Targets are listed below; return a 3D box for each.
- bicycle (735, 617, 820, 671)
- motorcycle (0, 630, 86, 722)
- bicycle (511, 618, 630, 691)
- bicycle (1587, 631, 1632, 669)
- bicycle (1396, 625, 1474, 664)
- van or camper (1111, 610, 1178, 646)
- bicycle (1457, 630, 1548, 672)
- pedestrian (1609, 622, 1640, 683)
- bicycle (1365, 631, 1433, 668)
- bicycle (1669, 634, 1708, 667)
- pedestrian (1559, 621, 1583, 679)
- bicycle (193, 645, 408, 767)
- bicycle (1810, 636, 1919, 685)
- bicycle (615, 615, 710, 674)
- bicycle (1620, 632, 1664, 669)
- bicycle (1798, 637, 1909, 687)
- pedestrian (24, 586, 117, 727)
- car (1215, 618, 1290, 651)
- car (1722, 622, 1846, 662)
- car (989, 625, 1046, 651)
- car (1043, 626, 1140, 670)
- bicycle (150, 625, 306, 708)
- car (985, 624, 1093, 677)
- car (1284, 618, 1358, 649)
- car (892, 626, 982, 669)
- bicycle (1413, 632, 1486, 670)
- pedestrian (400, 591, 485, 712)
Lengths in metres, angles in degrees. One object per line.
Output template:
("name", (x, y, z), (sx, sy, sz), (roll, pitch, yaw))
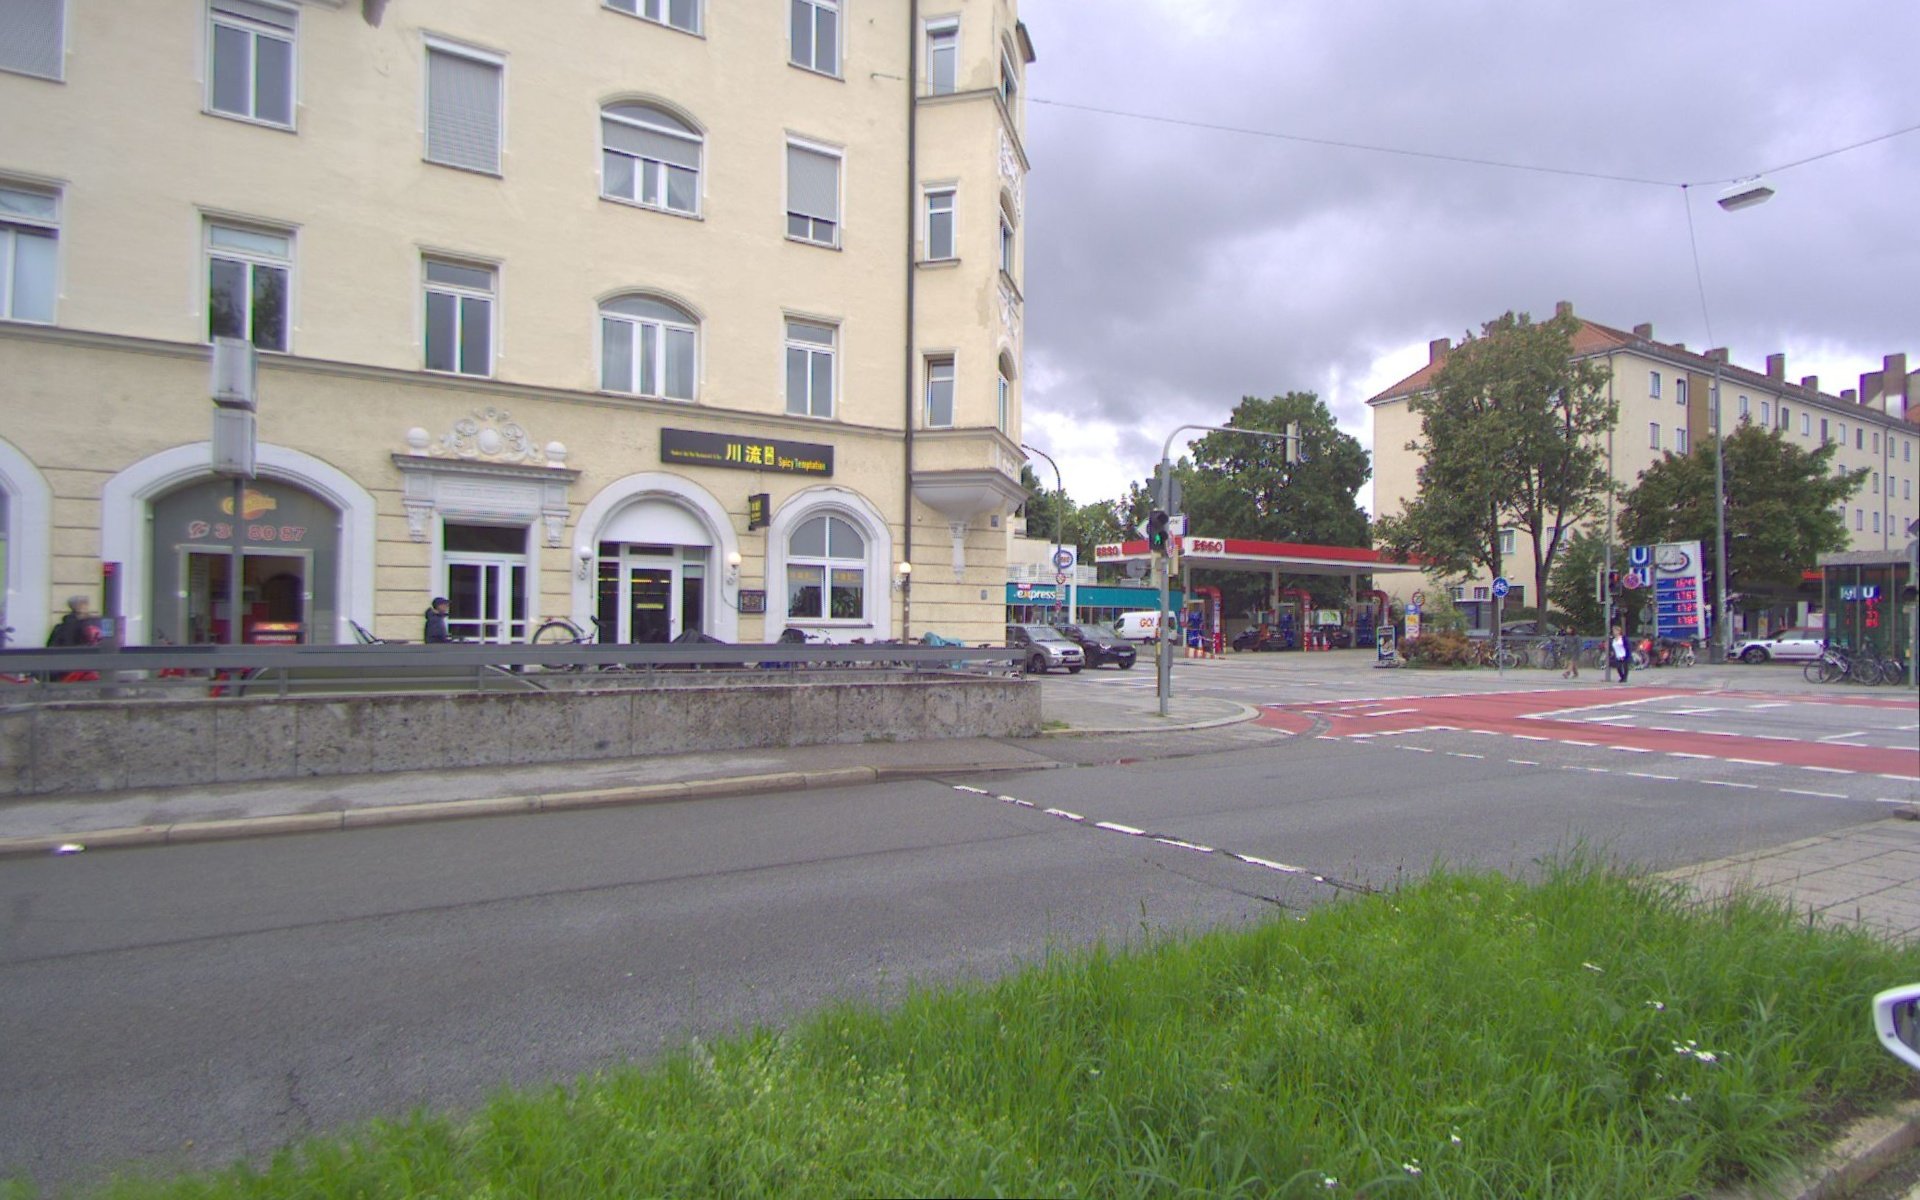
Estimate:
("bicycle", (-3.483, 0.835, 19.185), (1.527, 0.993, 0.470), (1, -1, -30))
("motorcycle", (-12.665, 0.975, 13.243), (1.946, 1.137, 0.610), (1, -1, 10))
("bicycle", (-5.547, 0.767, 14.331), (1.527, 0.993, 0.470), (1, -1, -30))
("bicycle", (22.454, 1.709, 34.732), (2.167, 1.252, 0.603), (1, -1, -37))
("bicycle", (17.000, 1.581, 36.014), (0.785, 1.267, 2.374), (2, 0, -40))
("van or camper", (12.570, 1.870, 68.667), (1.899, 2.354, 4.508), (1, -1, -34))
("bicycle", (18.483, 1.718, 34.248), (2.664, 1.267, 0.792), (2, 0, 30))
("pedestrian", (18.929, 1.487, 28.610), (0.569, 1.717, 0.532), (1, -1, -27))
("bicycle", (15.928, 1.784, 36.457), (0.759, 1.252, 2.162), (1, -1, -39))
("bicycle", (26.828, 1.837, 36.977), (1.947, 1.160, 0.603), (1, -1, -37))
("pedestrian", (18.329, 1.500, 30.126), (0.581, 1.717, 0.576), (0, -1, 29))
("bicycle", (-6.707, 1.040, 10.279), (1.798, 1.130, 0.392), (1, -1, -39))
("bicycle", (25.906, 1.705, 28.784), (0.685, 1.322, 2.275), (1, -1, -28))
("bicycle", (-5.236, 0.776, 17.721), (1.527, 0.993, 0.470), (1, -1, -30))
("bicycle", (23.477, 1.720, 34.578), (2.167, 1.252, 0.603), (1, -1, -37))
("bicycle", (25.232, 1.726, 28.410), (0.695, 1.322, 2.262), (1, -1, -28))
("pedestrian", (-11.180, 0.699, 12.646), (0.762, 1.719, 0.540), (1, -1, -32))
("car", (16.461, 1.926, 56.687), (1.836, 1.808, 3.968), (1, -1, -30))
("car", (35.064, 1.761, 42.879), (3.899, 1.630, 1.812), (0, -1, 33))
("car", (3.737, 2.465, 65.750), (1.848, 1.598, 3.967), (1, -1, -31))
("car", (4.537, 1.638, 35.004), (1.643, 1.430, 3.534), (1, -1, -27))
("bicycle", (-9.165, 0.818, 12.638), (1.527, 0.993, 0.470), (1, -1, -30))
("car", (2.478, 1.573, 32.135), (1.646, 1.537, 3.599), (1, -1, -32))
("car", (21.813, 1.995, 60.779), (1.836, 1.808, 3.968), (1, -1, -30))
("car", (-0.908, 1.715, 37.157), (1.643, 1.430, 4.299), (1, -1, -27))
("bicycle", (16.944, 1.748, 34.815), (0.760, 1.252, 2.161), (1, -1, -41))
("pedestrian", (-7.651, 0.745, 14.855), (0.584, 1.719, 0.942), (0, -1, 37))
